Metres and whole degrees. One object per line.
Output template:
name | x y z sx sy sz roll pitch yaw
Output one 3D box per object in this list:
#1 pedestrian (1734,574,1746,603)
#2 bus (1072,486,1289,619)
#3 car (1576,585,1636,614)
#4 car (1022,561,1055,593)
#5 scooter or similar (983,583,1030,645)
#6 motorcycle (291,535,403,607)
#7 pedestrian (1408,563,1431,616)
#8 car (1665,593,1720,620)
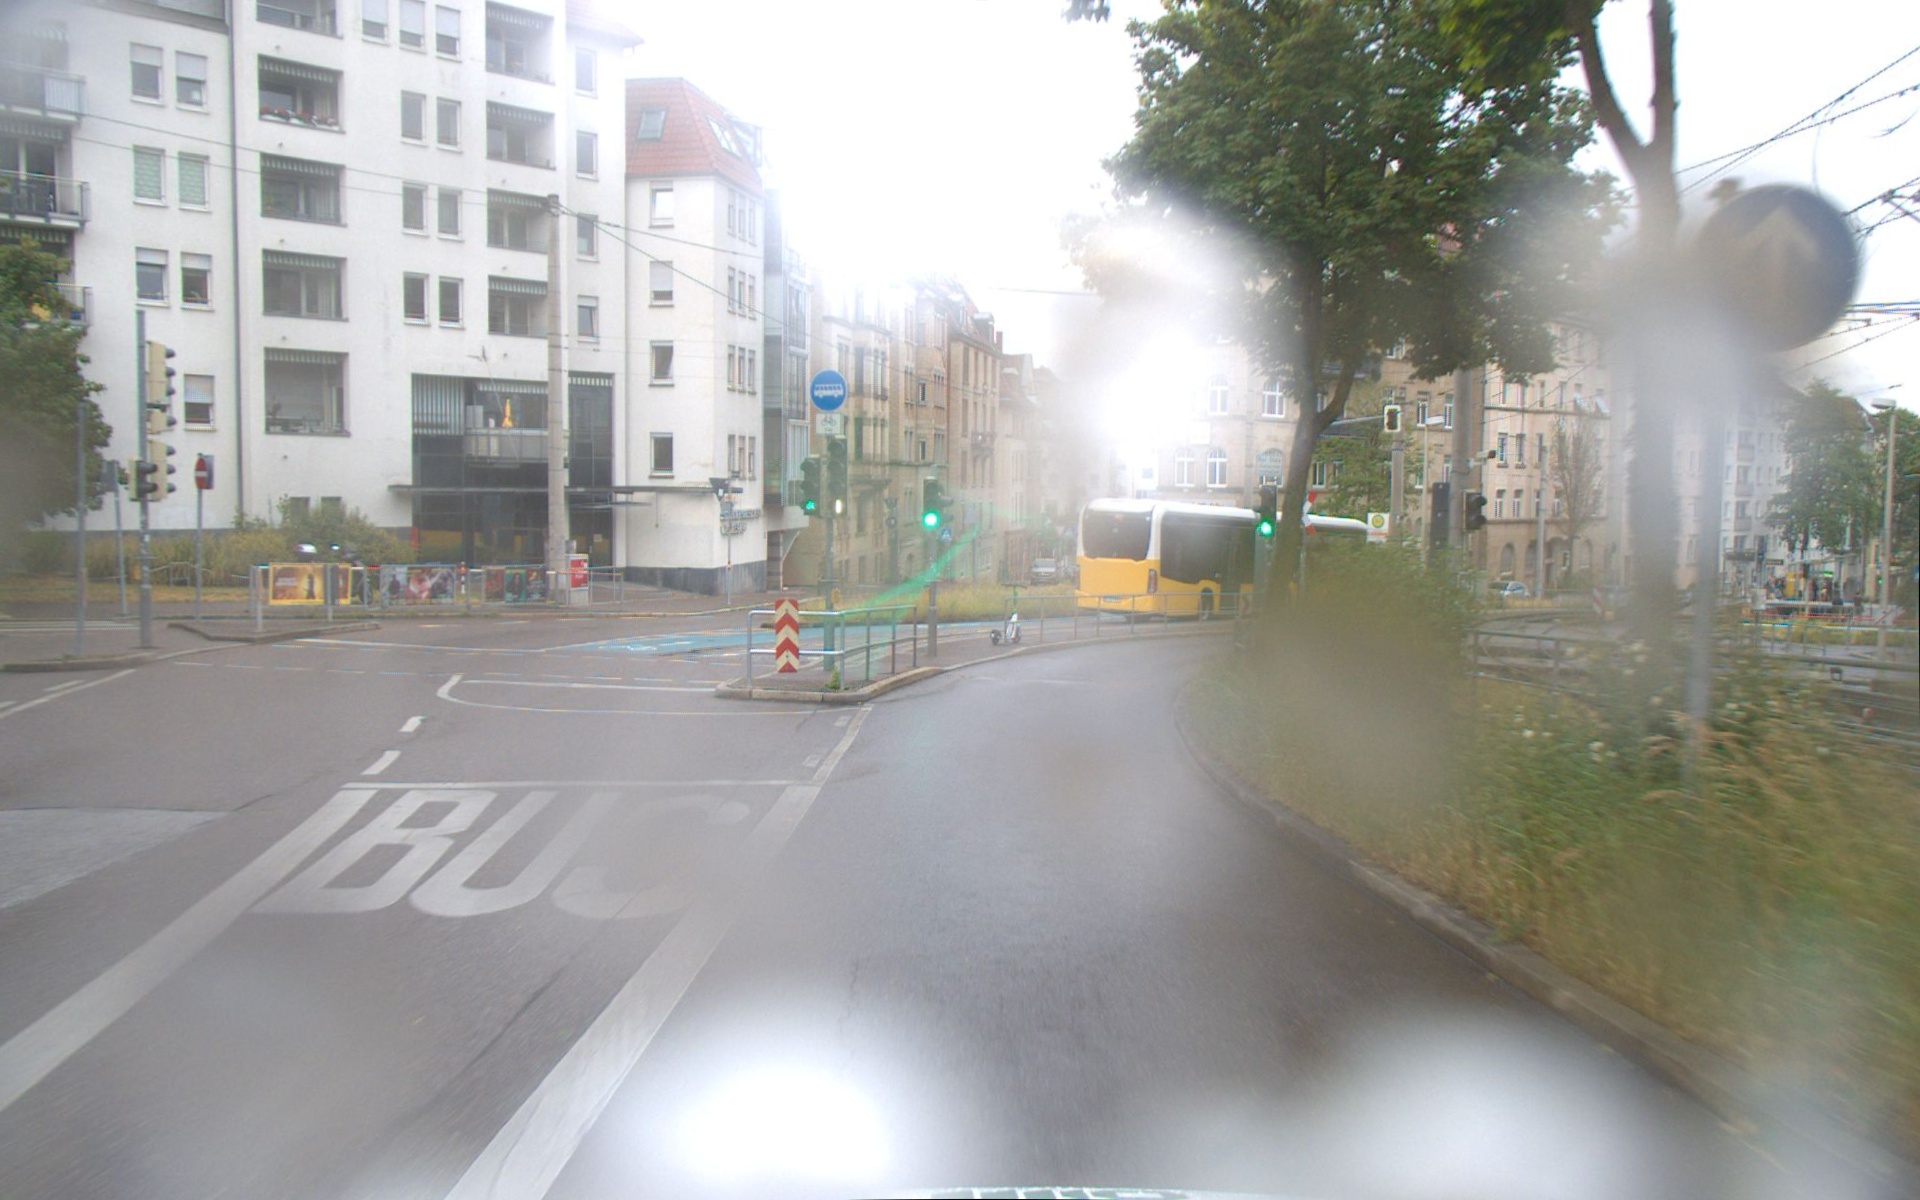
pedestrian | 49.485 -0.729 104.966 0.553 1.882 0.595 1 -1 41
bus | 6.642 -1.261 48.348 2.545 3.529 9.080 2 1 33
car | 40.691 -0.022 104.091 1.966 1.559 4.505 6 2 42
car | 5.709 -1.663 121.103 2.094 2.174 4.857 2 0 -1
scooter or similar | 0.915 0.256 31.927 0.424 1.133 1.606 3 1 18
motorcycle | -14.212 -0.654 38.415 0.685 1.576 2.433 6 3 34
pedestrian | 15.704 -0.345 56.529 0.565 1.782 0.542 2 0 31
car | 50.853 0.449 114.751 1.966 1.762 4.781 2 0 44
